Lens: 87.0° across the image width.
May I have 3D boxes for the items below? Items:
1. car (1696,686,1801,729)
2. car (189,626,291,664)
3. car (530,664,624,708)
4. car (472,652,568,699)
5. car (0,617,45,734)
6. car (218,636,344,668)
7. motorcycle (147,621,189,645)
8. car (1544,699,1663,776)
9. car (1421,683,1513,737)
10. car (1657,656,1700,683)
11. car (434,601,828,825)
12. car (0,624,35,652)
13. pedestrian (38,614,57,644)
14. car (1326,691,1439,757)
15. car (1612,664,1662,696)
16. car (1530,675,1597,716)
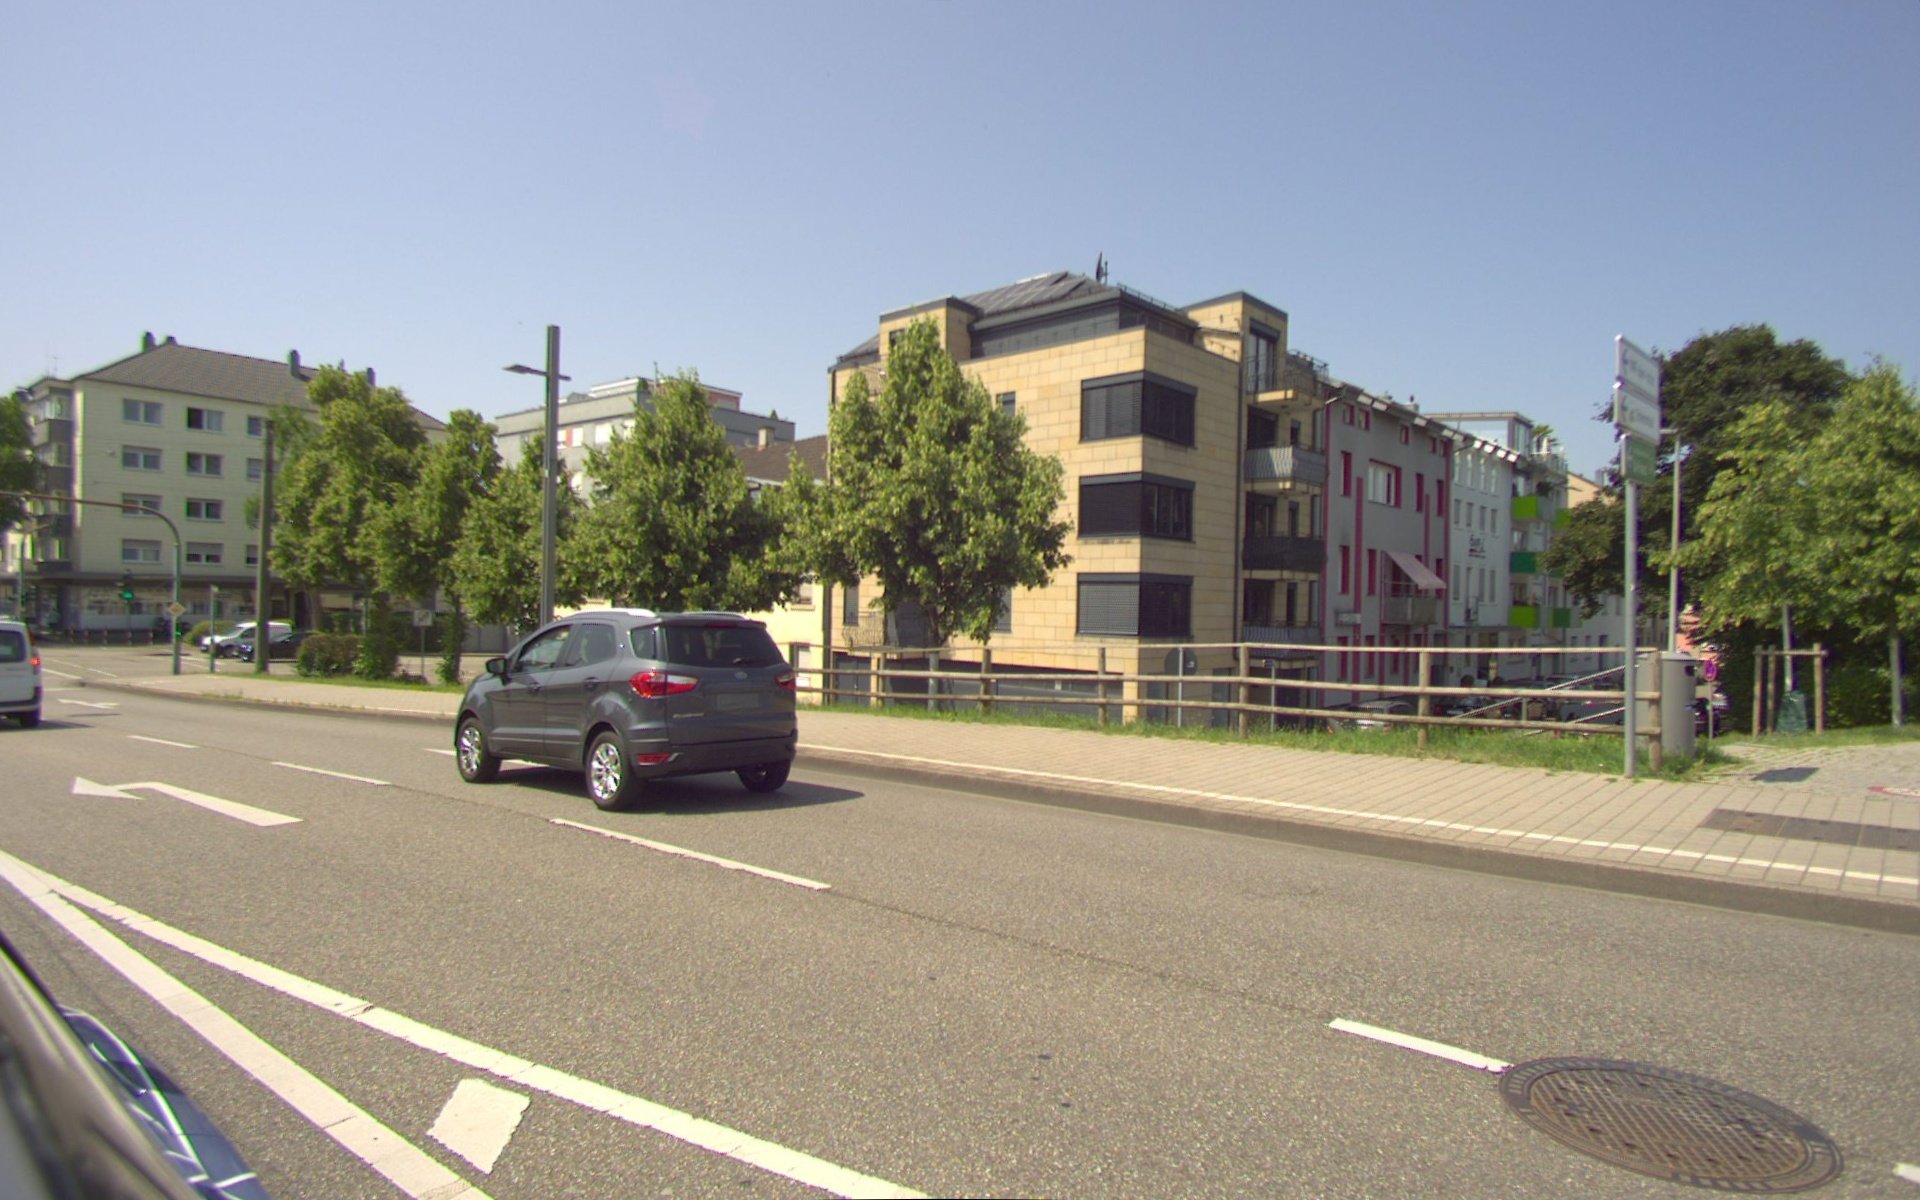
[{"bbox_3d":[33.328,4.514,42.786,3.931,1.662,2.006,2,-3,-27],"label":"car"},{"bbox_3d":[-36.066,2.259,50.771,1.889,1.748,3.655,1,-3,34],"label":"car"},{"bbox_3d":[-15.211,3.349,40.085,4.430,1.443,1.756,-1,-1,43],"label":"car"},{"bbox_3d":[-19.092,3.229,43.763,5.287,1.641,1.795,1,-3,43],"label":"car"},{"bbox_3d":[-17.562,1.291,17.323,4.652,1.874,1.821,-3,-3,35],"label":"car"},{"bbox_3d":[-32.948,2.538,49.228,2.110,1.412,4.569,1,-3,32],"label":"car"},{"bbox_3d":[-49.431,2.064,63.181,0.713,1.431,1.897,2,1,36],"label":"motorcycle"},{"bbox_3d":[17.139,3.568,26.874,2.000,1.662,3.943,-1,-4,43],"label":"car"},{"bbox_3d":[18.175,3.875,36.193,1.999,1.662,3.945,-1,-4,41],"label":"car"},{"bbox_3d":[50.036,4.829,70.460,1.999,1.662,3.945,-1,-2,41],"label":"car"},{"bbox_3d":[-3.188,0.896,9.446,3.919,1.653,1.719,-1,-3,41],"label":"car"},{"bbox_3d":[-55.893,2.219,59.405,3.931,1.470,1.568,1,-1,36],"label":"car"},{"bbox_3d":[-54.574,1.721,60.526,0.741,1.773,0.621,1,-1,35],"label":"pedestrian"},{"bbox_3d":[12.779,3.678,30.532,1.999,1.662,3.945,-1,-4,41],"label":"car"},{"bbox_3d":[40.187,4.740,60.046,1.999,1.662,3.945,-1,-2,41],"label":"car"},{"bbox_3d":[28.522,4.470,47.768,1.999,1.662,3.945,-1,-2,41],"label":"car"}]
